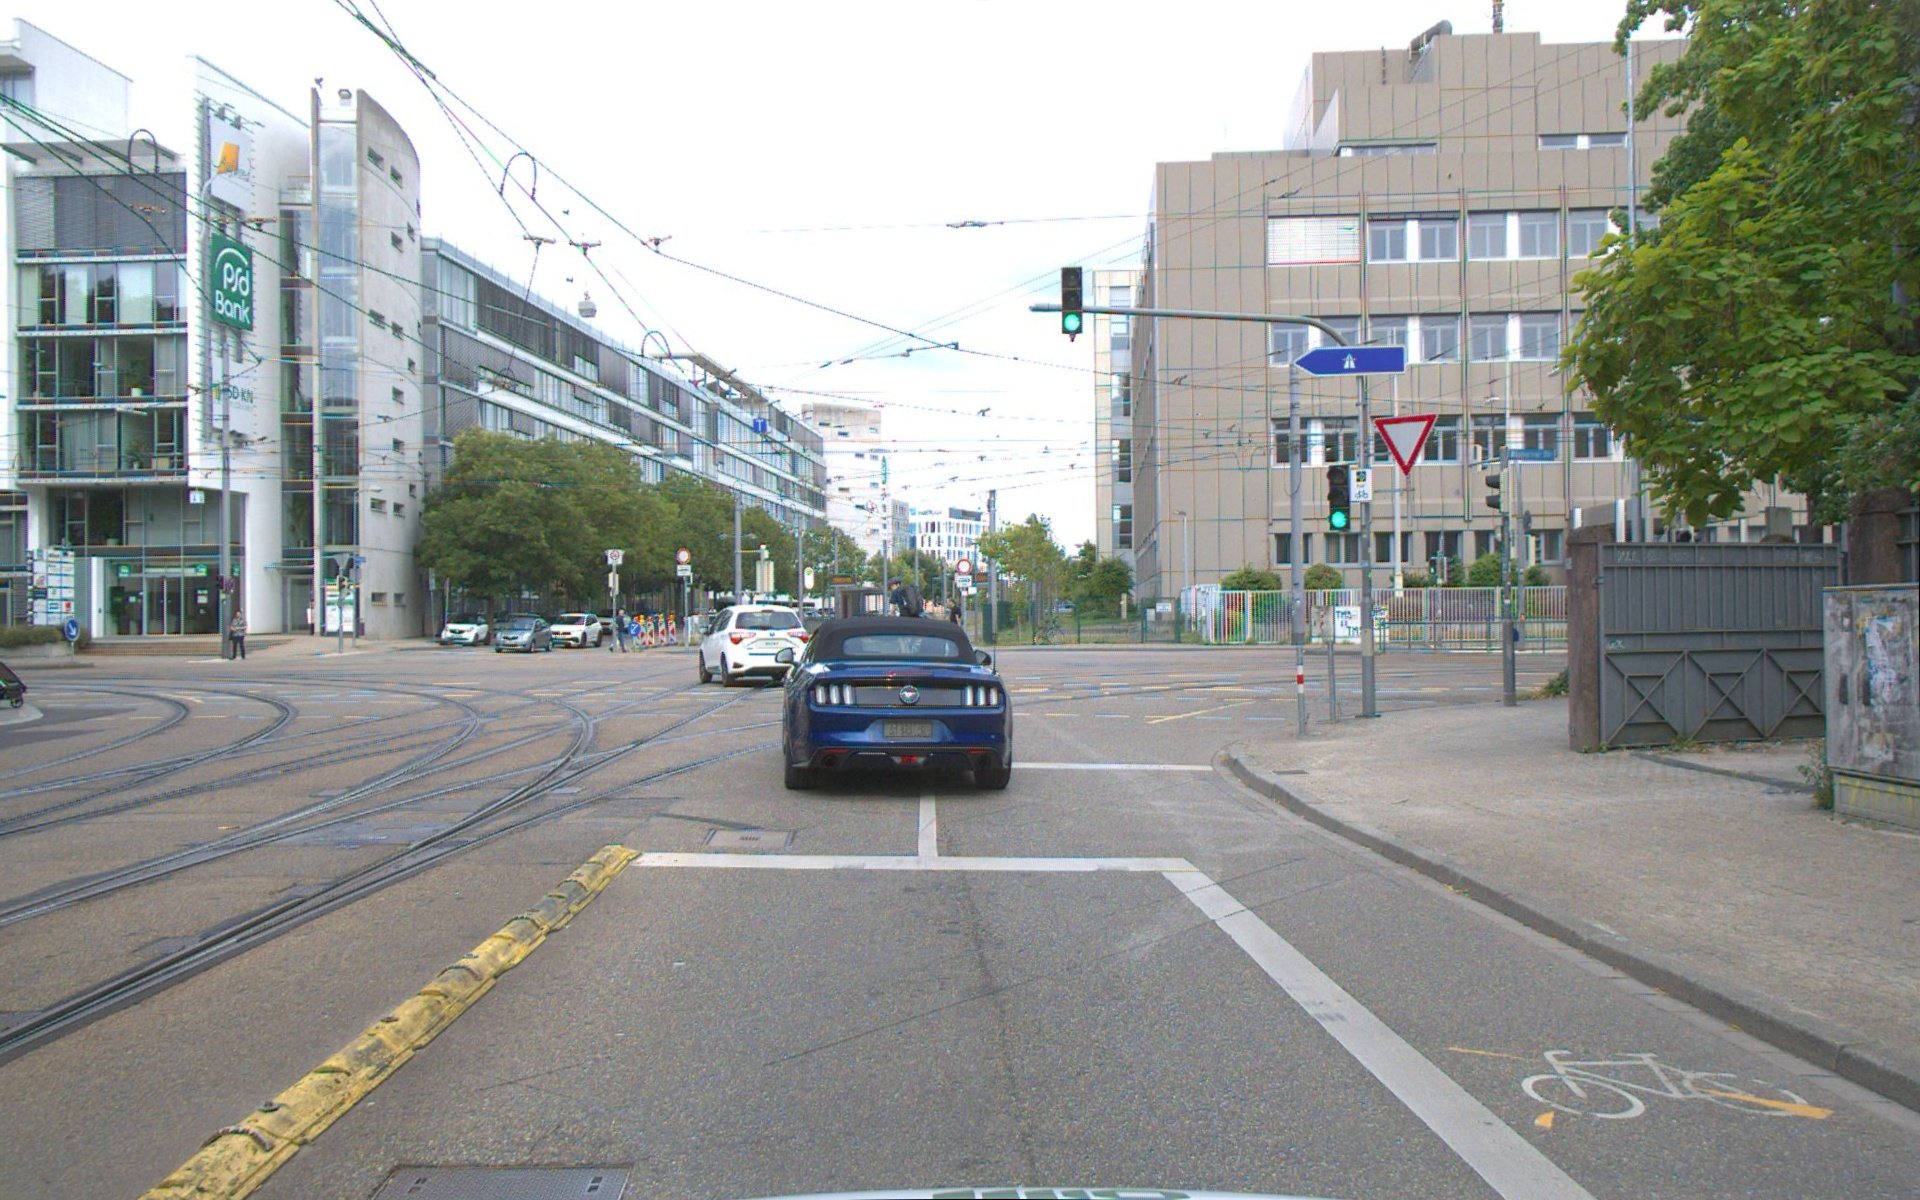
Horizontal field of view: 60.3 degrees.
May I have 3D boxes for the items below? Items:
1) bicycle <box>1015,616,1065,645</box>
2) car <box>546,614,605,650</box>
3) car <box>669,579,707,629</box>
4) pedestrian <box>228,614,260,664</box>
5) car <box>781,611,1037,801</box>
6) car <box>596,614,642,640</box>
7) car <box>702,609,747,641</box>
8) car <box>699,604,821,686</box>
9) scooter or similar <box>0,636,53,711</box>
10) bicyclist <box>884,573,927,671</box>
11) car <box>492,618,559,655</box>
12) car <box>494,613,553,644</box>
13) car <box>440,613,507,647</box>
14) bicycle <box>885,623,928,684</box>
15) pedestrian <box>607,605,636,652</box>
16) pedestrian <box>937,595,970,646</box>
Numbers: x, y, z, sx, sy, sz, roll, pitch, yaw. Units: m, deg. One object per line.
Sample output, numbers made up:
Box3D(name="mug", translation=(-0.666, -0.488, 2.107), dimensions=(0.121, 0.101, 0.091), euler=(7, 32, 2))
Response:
Box3D(name="bicycle", translation=(3.090, 1.196, 64.013), dimensions=(0.629, 0.998, 2.125), euler=(0, -3, -42))
Box3D(name="car", translation=(-18.917, 1.546, 81.474), dimensions=(1.679, 1.689, 4.135), euler=(1, 0, 4))
Box3D(name="car", translation=(-20.767, 0.327, 126.397), dimensions=(1.945, 3.700, 4.513), euler=(1, 0, 1))
Box3D(name="pedestrian", translation=(-27.315, 1.478, 63.086), dimensions=(0.816, 1.897, 0.766), euler=(-1, -1, 12))
Box3D(name="car", translation=(-0.608, 0.819, 14.715), dimensions=(1.841, 1.428, 4.274), euler=(1, 0, -8))
Box3D(name="car", translation=(-22.132, 1.718, 107.353), dimensions=(1.945, 1.584, 4.513), euler=(1, 0, 1))
Box3D(name="car", translation=(-12.545, 1.313, 88.318), dimensions=(1.841, 1.657, 4.086), euler=(-1, 0, 0))
Box3D(name="car", translation=(-3.955, 0.838, 32.182), dimensions=(1.804, 1.464, 4.171), euler=(-1, 0, -15))
Box3D(name="scooter or similar", translation=(-15.237, 1.156, 26.248), dimensions=(1.172, 1.148, 0.946), euler=(0, 0, -3))
Box3D(name="bicyclist", translation=(-1.048, 0.418, 31.692), dimensions=(0.780, 1.817, 1.232), euler=(-1, -1, -2))
Box3D(name="car", translation=(-19.406, 1.603, 74.056), dimensions=(1.633, 1.533, 4.236), euler=(1, 0, 4))
Box3D(name="car", translation=(-23.511, 1.534, 89.158), dimensions=(1.791, 1.584, 4.218), euler=(1, 0, 4))
Box3D(name="car", translation=(-24.012, 1.448, 81.774), dimensions=(1.791, 1.584, 4.218), euler=(1, 0, 4))
Box3D(name="bicycle", translation=(-1.029, 1.018, 31.830), dimensions=(0.784, 1.105, 2.130), euler=(-1, 0, -2))
Box3D(name="pedestrian", translation=(-13.889, 1.164, 67.904), dimensions=(0.968, 1.888, 0.902), euler=(-1, -1, 3))
Box3D(name="pedestrian", translation=(-0.257, 0.790, 64.380), dimensions=(1.063, 1.931, 0.902), euler=(-1, -1, 13))
